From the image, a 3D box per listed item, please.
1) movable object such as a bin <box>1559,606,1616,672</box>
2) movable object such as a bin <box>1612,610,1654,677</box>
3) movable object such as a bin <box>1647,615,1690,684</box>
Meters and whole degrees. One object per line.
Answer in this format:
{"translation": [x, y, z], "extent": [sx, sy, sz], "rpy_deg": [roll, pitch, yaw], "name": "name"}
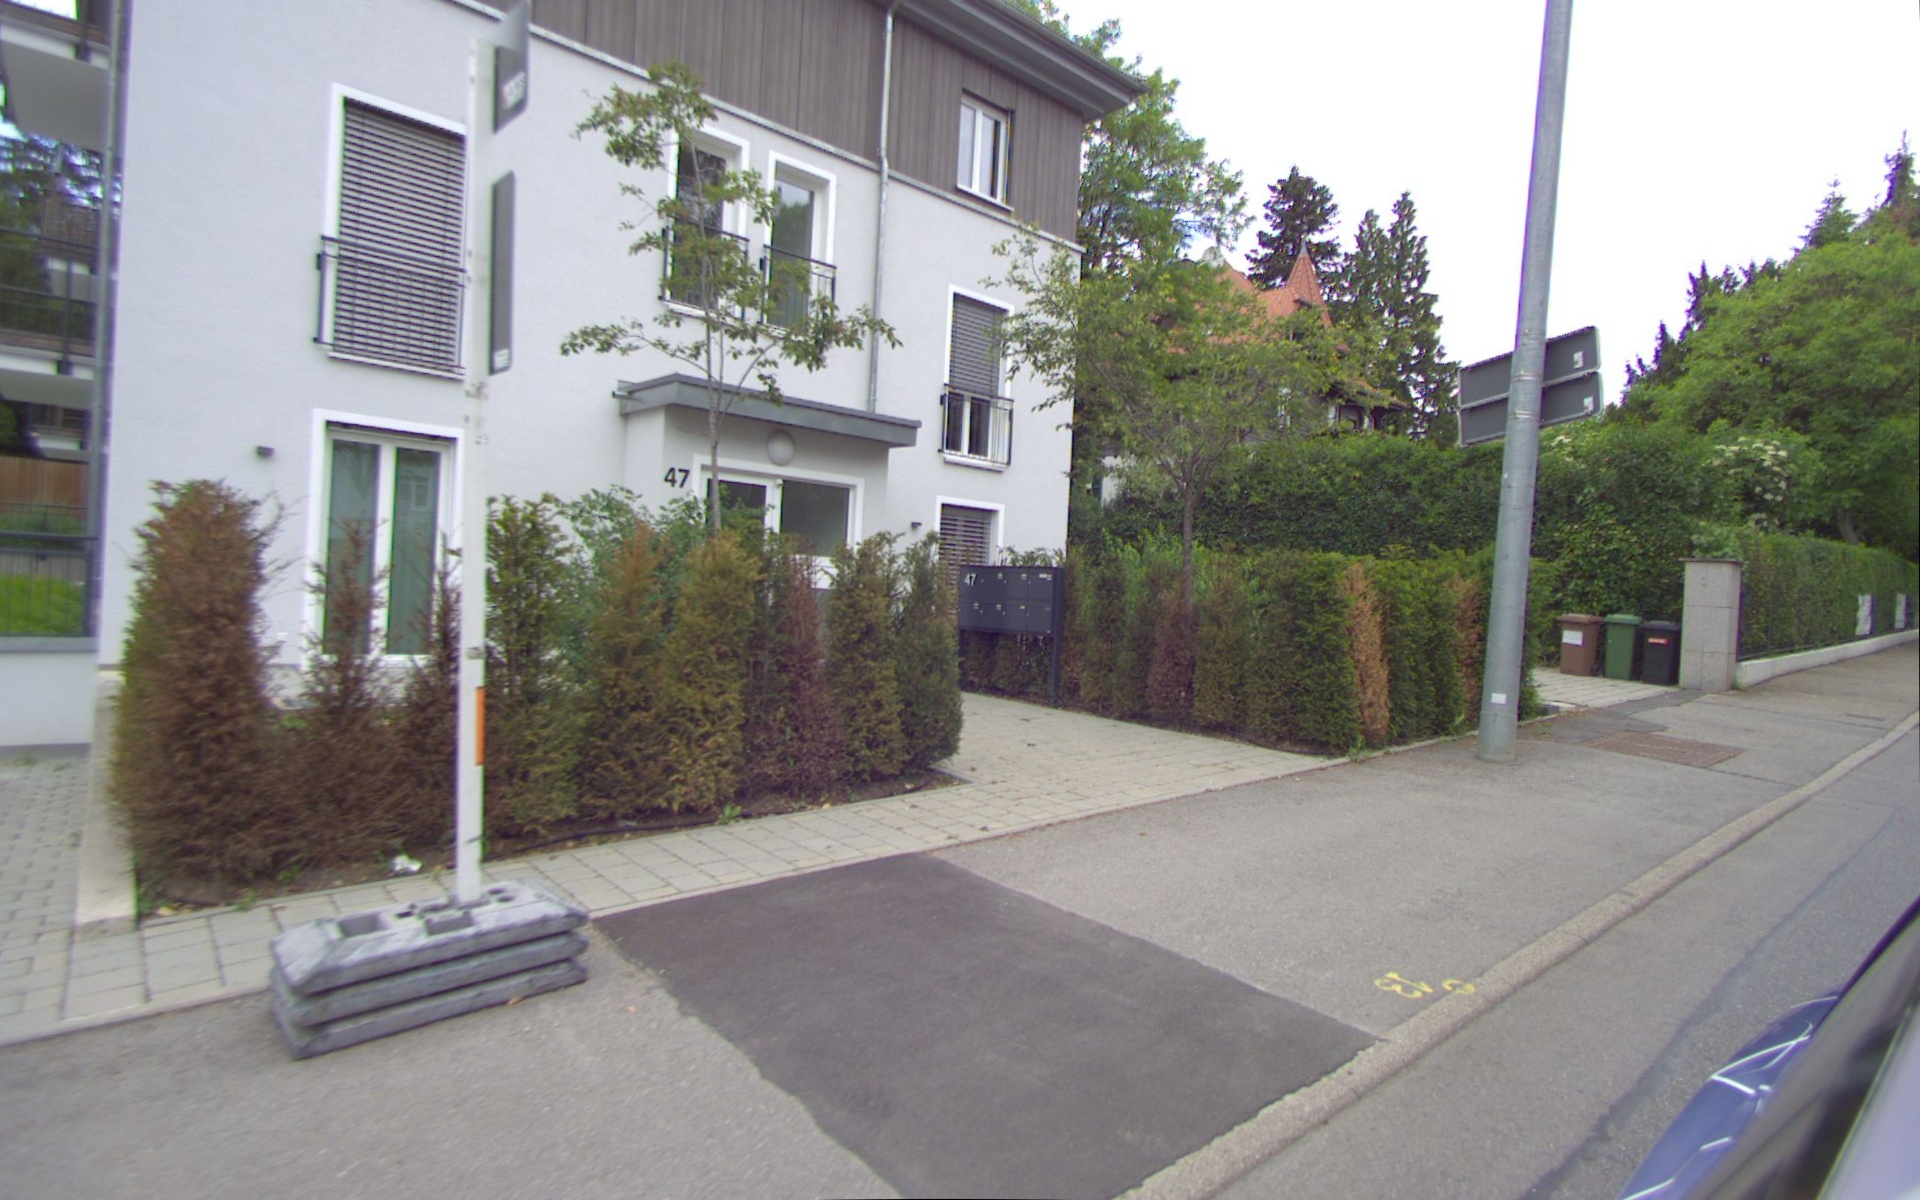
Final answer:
{"translation": [9.526, 0.582, 15.364], "extent": [0.593, 0.949, 0.467], "rpy_deg": [2, 3, -32], "name": "movable object such as a bin"}
{"translation": [10.089, 0.639, 15.178], "extent": [0.463, 0.949, 0.598], "rpy_deg": [2, 1, 31], "name": "movable object such as a bin"}
{"translation": [10.286, 0.708, 14.688], "extent": [0.464, 0.949, 0.596], "rpy_deg": [2, 1, 38], "name": "movable object such as a bin"}
